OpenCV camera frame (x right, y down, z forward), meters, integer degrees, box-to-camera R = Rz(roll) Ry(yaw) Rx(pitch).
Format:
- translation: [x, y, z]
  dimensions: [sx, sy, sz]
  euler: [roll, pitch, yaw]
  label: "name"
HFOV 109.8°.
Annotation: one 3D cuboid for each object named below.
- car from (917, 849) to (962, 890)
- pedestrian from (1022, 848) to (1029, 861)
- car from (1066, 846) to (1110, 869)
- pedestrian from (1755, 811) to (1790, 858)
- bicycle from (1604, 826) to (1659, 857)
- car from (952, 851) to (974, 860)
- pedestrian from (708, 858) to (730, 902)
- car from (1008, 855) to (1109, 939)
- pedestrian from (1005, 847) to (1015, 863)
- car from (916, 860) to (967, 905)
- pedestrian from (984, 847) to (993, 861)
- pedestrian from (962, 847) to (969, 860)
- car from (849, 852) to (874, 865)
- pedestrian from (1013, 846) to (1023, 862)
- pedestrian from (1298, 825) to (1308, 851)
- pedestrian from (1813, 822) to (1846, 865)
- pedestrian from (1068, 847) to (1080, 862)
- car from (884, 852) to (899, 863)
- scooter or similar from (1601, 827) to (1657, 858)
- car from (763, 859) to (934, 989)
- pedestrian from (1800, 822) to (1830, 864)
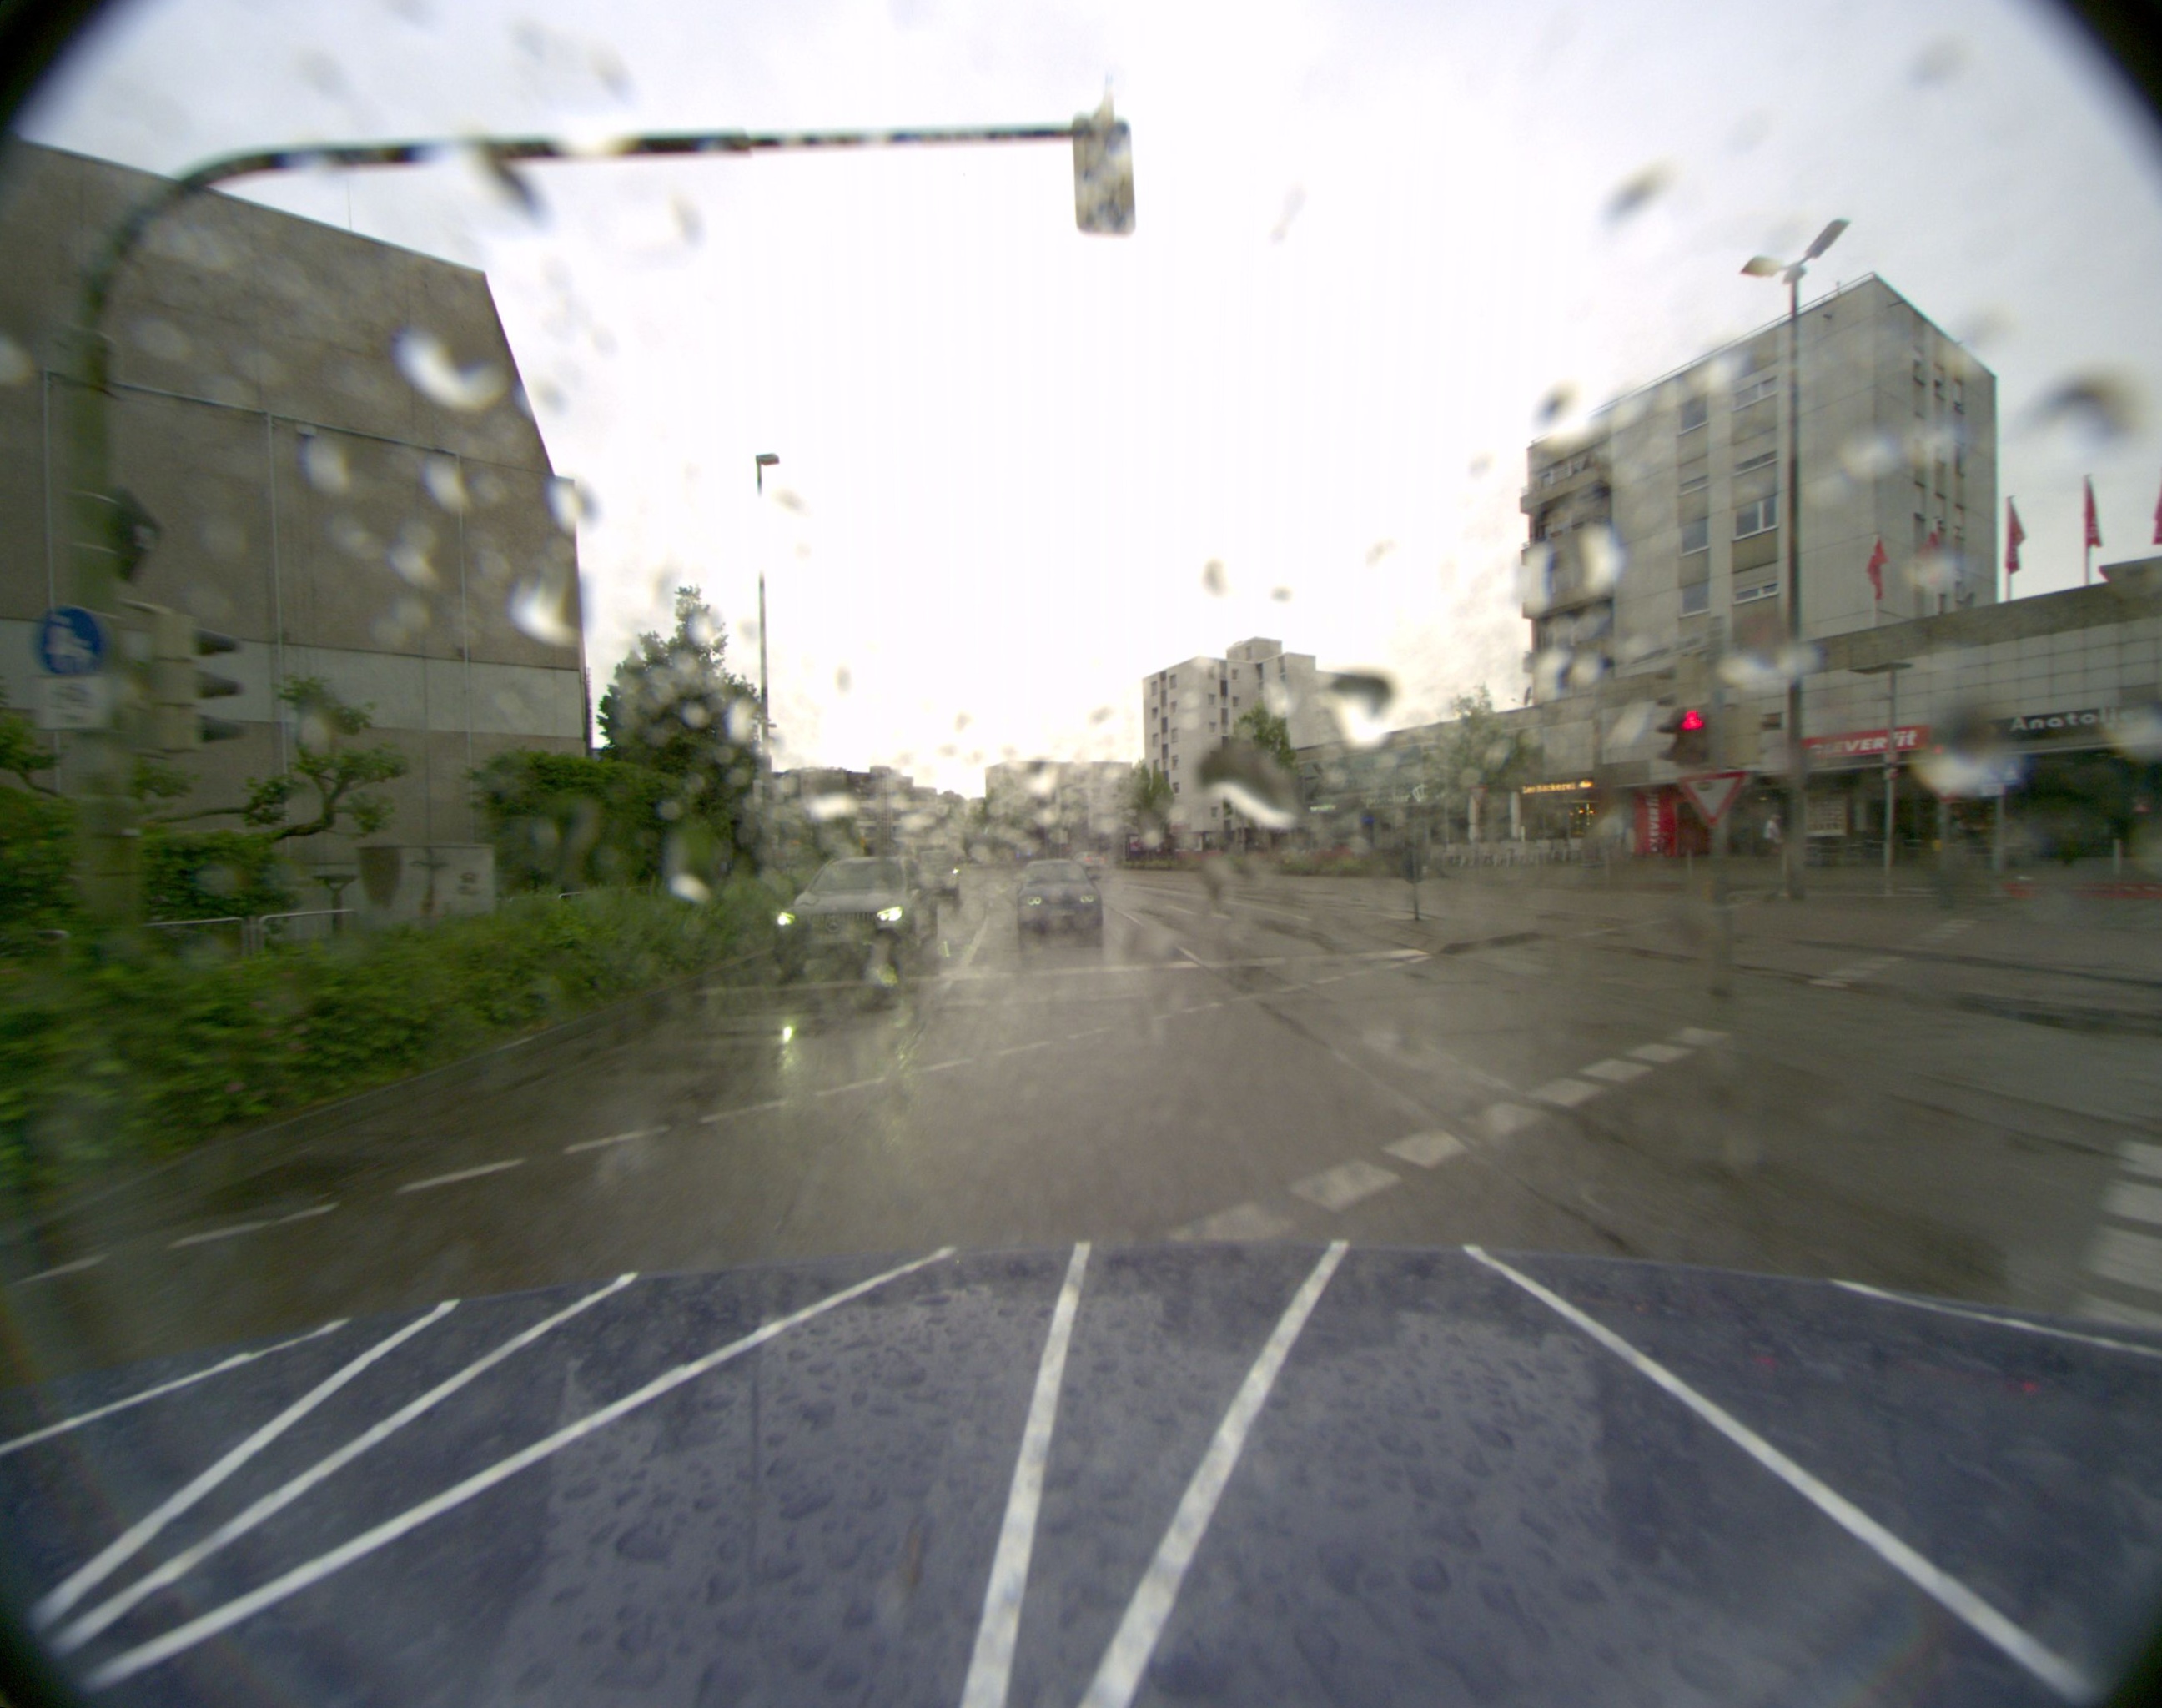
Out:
- translation: [-7.346, 0.750, 39.189]
  dimensions: [2.003, 1.883, 4.581]
  euler: [-3, 1, -13]
  label: "car"
- translation: [-7.234, 0.062, 99.282]
  dimensions: [0.550, 1.740, 0.679]
  euler: [-3, 1, -26]
  label: "pedestrian"
- translation: [0.484, 0.279, 61.724]
  dimensions: [1.893, 1.673, 4.497]
  euler: [-3, 1, -23]
  label: "car"
- translation: [25.354, -0.704, 27.886]
  dimensions: [0.714, 1.683, 0.658]
  euler: [-2, 1, 18]
  label: "pedestrian"
- translation: [23.499, -0.525, 32.428]
  dimensions: [2.556, 1.216, 0.695]
  euler: [-3, 1, -25]
  label: "bicycle"
- translation: [-23.287, 0.268, 149.892]
  dimensions: [1.742, 1.710, 3.903]
  euler: [-1, 1, 44]
  label: "car"
- translation: [-15.363, 1.083, 32.251]
  dimensions: [0.675, 1.787, 0.672]
  euler: [-3, 2, -32]
  label: "pedestrian"
- translation: [-0.369, 0.840, 16.611]
  dimensions: [1.675, 1.534, 3.914]
  euler: [-3, 0, 5]
  label: "car"
- translation: [-9.107, 0.080, 96.975]
  dimensions: [0.907, 2.002, 0.975]
  euler: [-3, 1, -29]
  label: "pedestrian"
- translation: [-5.149, 0.971, 27.935]
  dimensions: [1.637, 1.378, 4.510]
  euler: [-3, 1, -11]
  label: "car"
- translation: [-12.839, -0.030, 105.247]
  dimensions: [0.907, 1.904, 0.975]
  euler: [-3, 1, -29]
  label: "pedestrian"
- translation: [-18.077, -0.084, 119.310]
  dimensions: [0.762, 2.002, 0.862]
  euler: [-3, 1, -29]
  label: "pedestrian"
- translation: [-27.584, 0.598, 95.364]
  dimensions: [1.766, 1.443, 3.990]
  euler: [-3, 0, -34]
  label: "car"
- translation: [-8.098, -0.023, 97.814]
  dimensions: [0.907, 2.002, 0.975]
  euler: [-3, 1, -29]
  label: "pedestrian"
- translation: [15.723, -1.114, 53.921]
  dimensions: [0.427, 1.837, 0.500]
  euler: [-3, 1, -18]
  label: "pedestrian"
- translation: [23.822, -0.335, 24.187]
  dimensions: [0.497, 1.340, 0.537]
  euler: [-2, 1, 7]
  label: "pedestrian"
- translation: [-0.731, 0.051, 83.982]
  dimensions: [1.012, 1.636, 0.725]
  euler: [-3, 1, -28]
  label: "pedestrian"
- translation: [-26.296, 0.478, 105.532]
  dimensions: [1.849, 1.452, 4.802]
  euler: [-3, 1, -14]
  label: "car"
- translation: [22.229, -0.455, 30.810]
  dimensions: [2.596, 1.167, 0.641]
  euler: [-2, 1, -25]
  label: "scooter or similar"
- translation: [-3.517, 0.944, 12.359]
  dimensions: [1.907, 1.611, 4.332]
  euler: [-3, 1, -8]
  label: "car"
- translation: [23.940, -0.360, 24.786]
  dimensions: [0.497, 1.340, 0.537]
  euler: [-2, 2, 6]
  label: "pedestrian"
